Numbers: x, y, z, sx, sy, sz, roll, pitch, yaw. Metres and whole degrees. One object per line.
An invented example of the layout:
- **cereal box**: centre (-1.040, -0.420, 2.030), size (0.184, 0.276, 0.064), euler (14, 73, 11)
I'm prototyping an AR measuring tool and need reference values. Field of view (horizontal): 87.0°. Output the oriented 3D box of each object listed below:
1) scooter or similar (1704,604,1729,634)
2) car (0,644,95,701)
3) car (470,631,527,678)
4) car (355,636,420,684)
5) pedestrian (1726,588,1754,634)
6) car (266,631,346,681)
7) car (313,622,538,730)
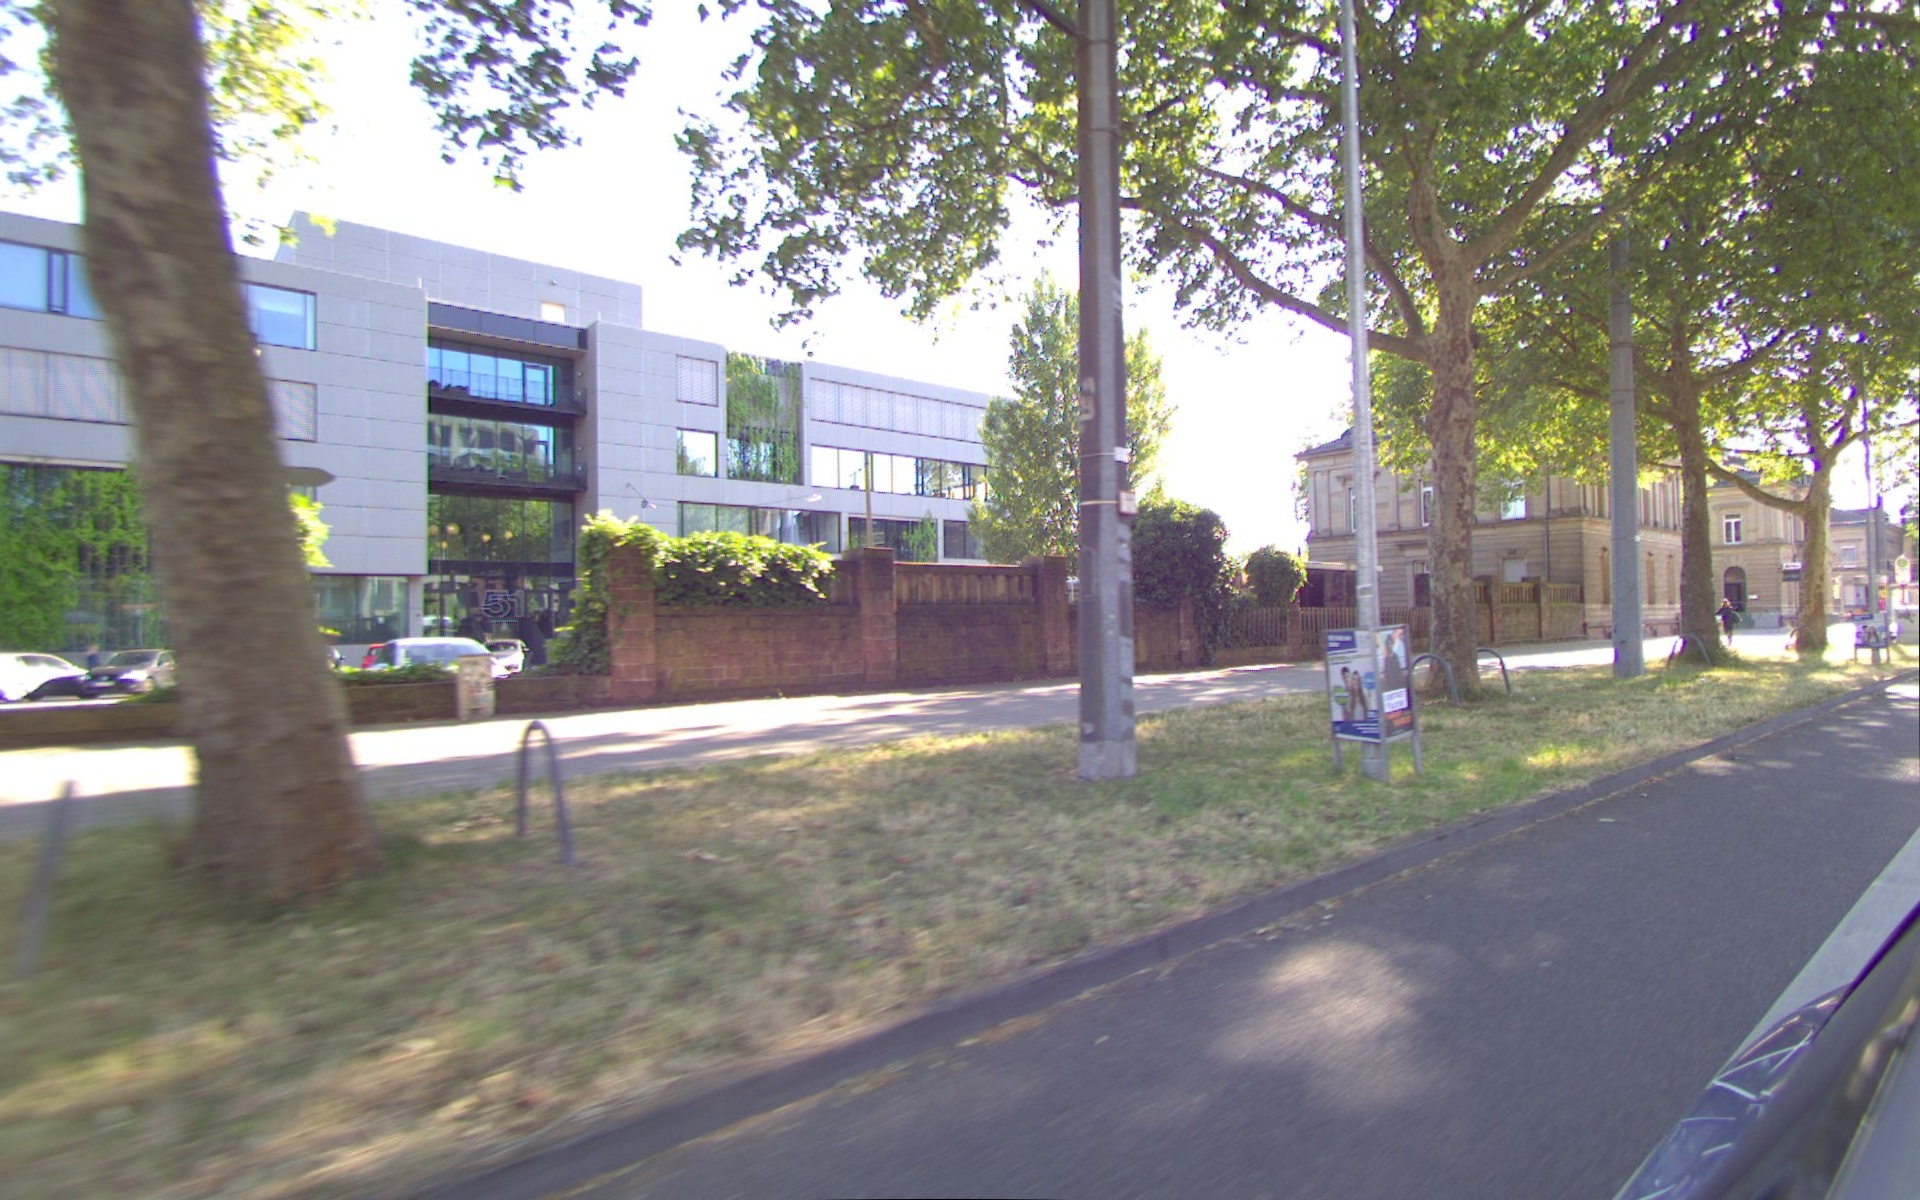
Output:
- **scooter or similar**: centre (29.500, 0.732, 39.467), size (0.718, 1.170, 0.748), euler (0, 0, 43)
- **car**: centre (-28.146, 2.159, 30.198), size (1.618, 1.541, 3.666), euler (-1, -1, -2)
- **car**: centre (-17.886, 2.055, 39.380), size (1.757, 1.667, 4.373), euler (-1, -1, -21)
- **car**: centre (-21.120, 2.184, 37.450), size (1.616, 1.584, 3.672), euler (-1, -1, -22)
- **pedestrian**: centre (30.073, 0.411, 39.016), size (0.769, 1.766, 0.784), euler (0, 0, 43)
- **car**: centre (-23.027, 1.927, 35.750), size (1.615, 1.584, 3.722), euler (-1, -1, -21)
- **car**: centre (-9.017, 1.185, 16.942), size (4.099, 1.541, 2.012), euler (-2, -1, 41)
